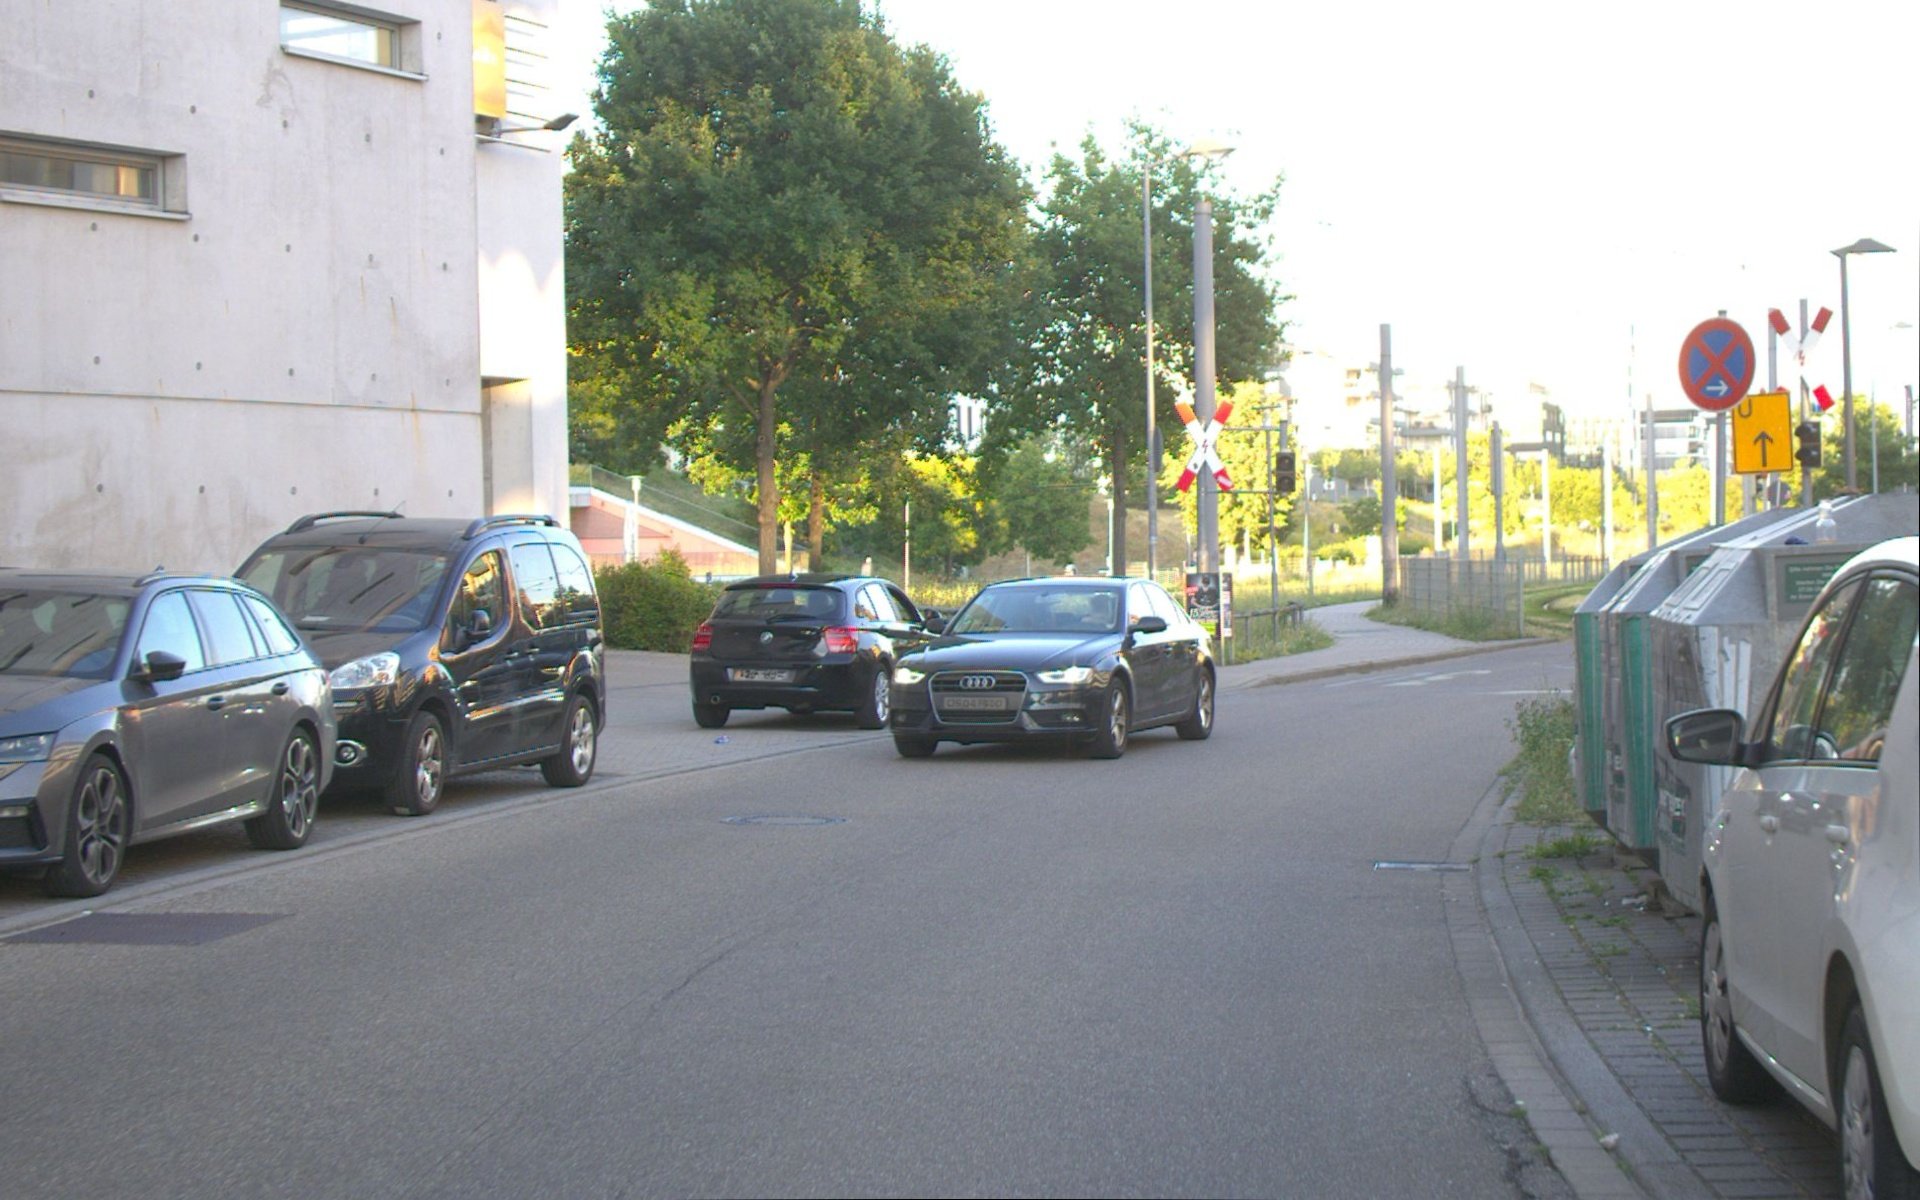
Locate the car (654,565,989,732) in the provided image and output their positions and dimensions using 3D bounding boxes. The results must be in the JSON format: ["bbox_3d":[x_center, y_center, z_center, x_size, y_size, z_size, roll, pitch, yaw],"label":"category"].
[{"bbox_3d":[-1.224,0.401,32.577,1.945,1.378,4.396,1,2,15],"label":"car"}]

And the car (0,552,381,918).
[{"bbox_3d":[-4.418,0.532,16.819,1.723,1.452,4.692,1,2,9],"label":"car"}]

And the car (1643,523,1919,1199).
[{"bbox_3d":[2.576,0.559,7.691,1.723,1.462,3.552,-1,1,6],"label":"car"}]

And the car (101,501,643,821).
[{"bbox_3d":[-3.599,0.294,21.930,1.758,1.792,4.460,1,2,14],"label":"car"}]

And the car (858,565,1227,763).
[{"bbox_3d":[0.767,0.450,27.767,1.779,1.417,4.512,0,1,18],"label":"car"}]
